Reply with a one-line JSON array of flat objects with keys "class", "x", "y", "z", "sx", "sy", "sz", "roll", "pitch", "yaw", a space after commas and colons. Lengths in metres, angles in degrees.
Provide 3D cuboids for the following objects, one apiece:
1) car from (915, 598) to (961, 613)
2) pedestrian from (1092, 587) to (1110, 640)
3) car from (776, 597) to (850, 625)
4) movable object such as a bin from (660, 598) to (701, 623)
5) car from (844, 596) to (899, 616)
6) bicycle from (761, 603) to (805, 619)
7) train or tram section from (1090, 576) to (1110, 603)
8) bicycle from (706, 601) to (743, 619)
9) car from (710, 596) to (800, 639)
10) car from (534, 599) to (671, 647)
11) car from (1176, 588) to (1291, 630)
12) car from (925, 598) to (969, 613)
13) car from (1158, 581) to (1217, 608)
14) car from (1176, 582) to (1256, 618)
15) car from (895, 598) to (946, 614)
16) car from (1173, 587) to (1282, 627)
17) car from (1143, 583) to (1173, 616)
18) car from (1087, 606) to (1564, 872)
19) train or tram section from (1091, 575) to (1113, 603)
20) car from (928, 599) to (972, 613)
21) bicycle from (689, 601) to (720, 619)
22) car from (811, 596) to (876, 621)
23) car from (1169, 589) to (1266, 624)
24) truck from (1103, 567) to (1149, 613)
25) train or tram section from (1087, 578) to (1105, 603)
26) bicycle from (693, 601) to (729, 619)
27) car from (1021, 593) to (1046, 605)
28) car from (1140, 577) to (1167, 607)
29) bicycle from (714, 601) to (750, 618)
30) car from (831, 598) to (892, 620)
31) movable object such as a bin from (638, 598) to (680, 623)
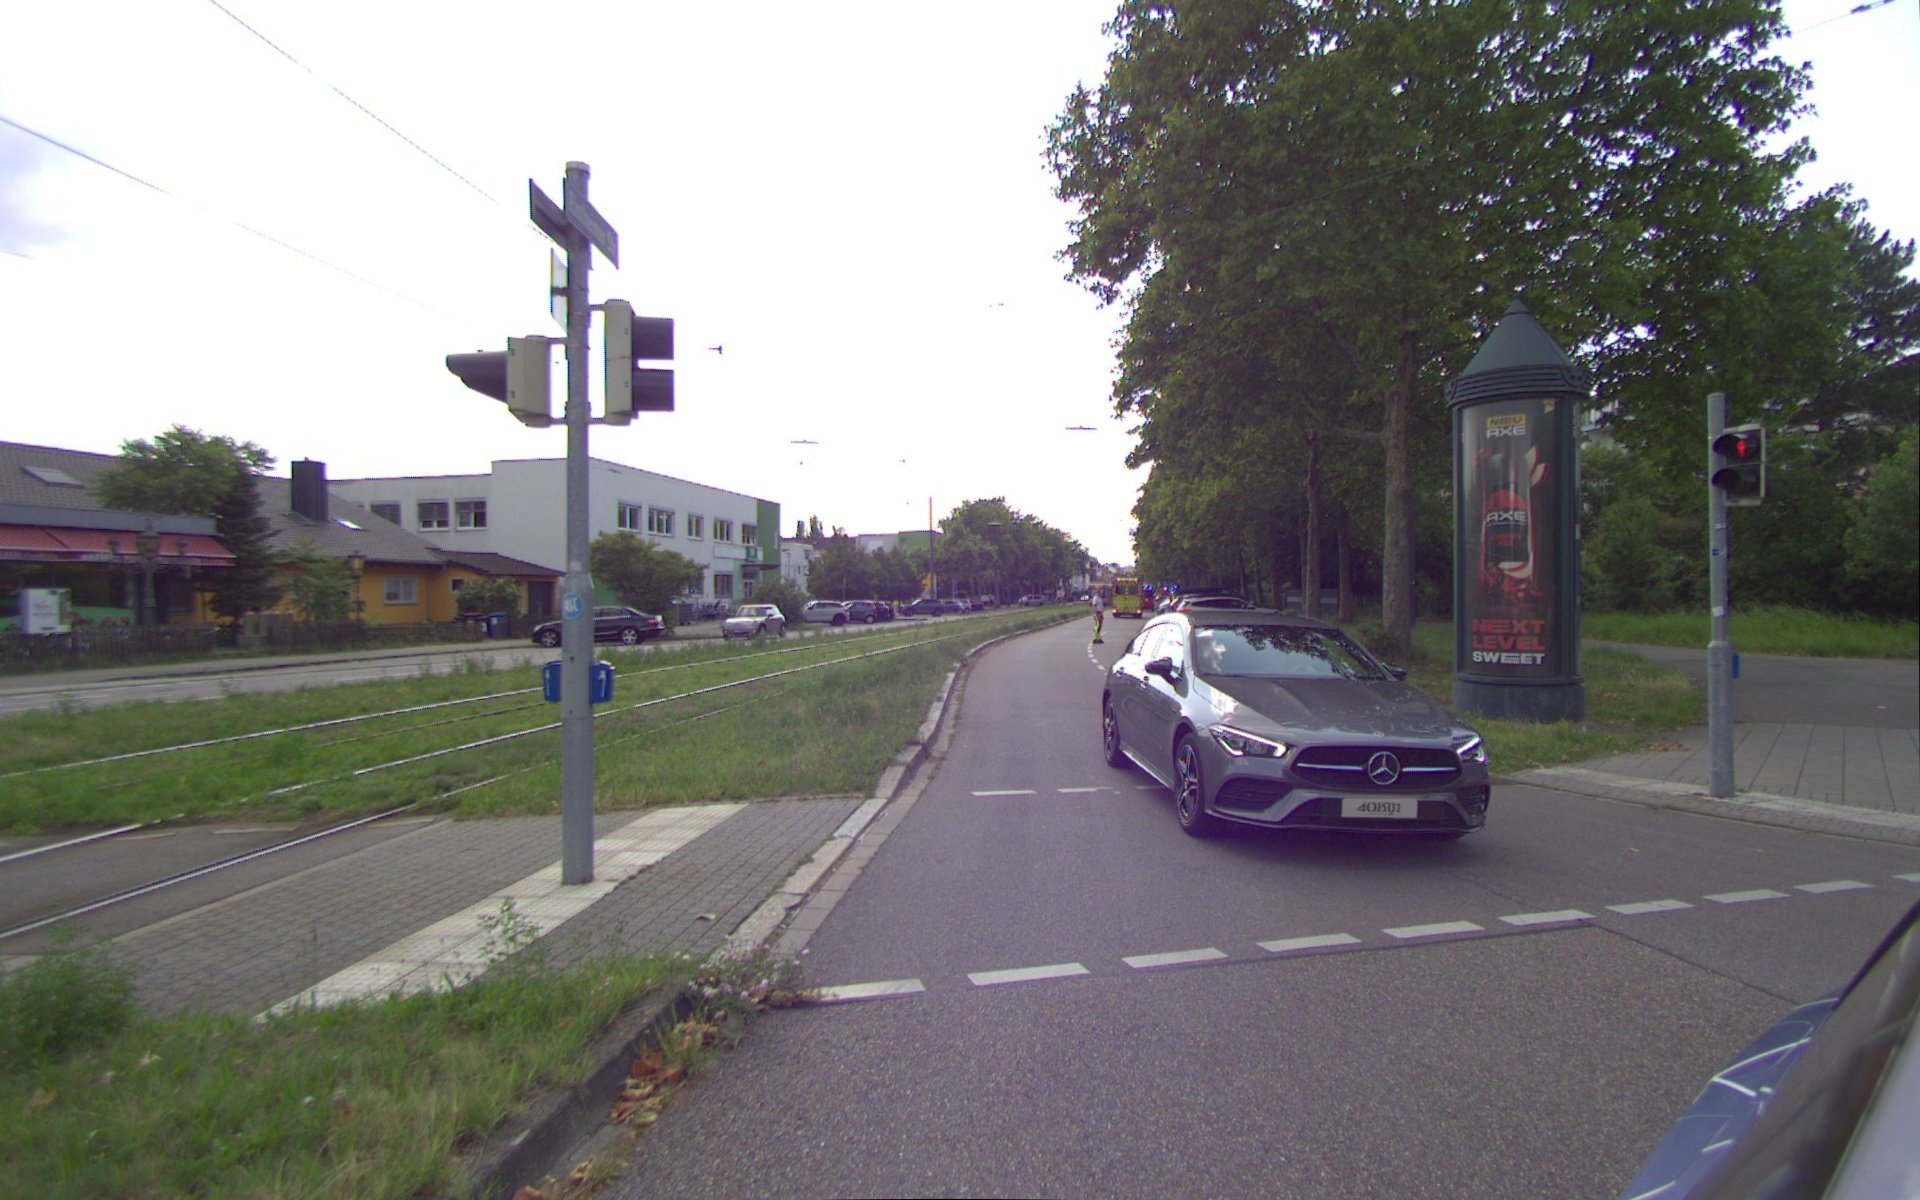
[{"class": "car", "x": -2.187, "y": 0.550, "z": 99.673, "sx": 4.226, "sy": 1.381, "sz": 1.905, "roll": -1, "pitch": 0, "yaw": -10}, {"class": "pedestrian", "x": 4.518, "y": 0.426, "z": 32.457, "sx": 0.577, "sy": 1.705, "sz": 0.493, "roll": 0, "pitch": -1, "yaw": 9}, {"class": "car", "x": -9.232, "y": 0.658, "z": 63.505, "sx": 4.225, "sy": 1.650, "sz": 1.906, "roll": -1, "pitch": 0, "yaw": -21}, {"class": "movable object such as a bin", "x": -16.052, "y": 0.592, "z": 58.185, "sx": 1.357, "sy": 1.343, "sz": 2.121, "roll": -1, "pitch": 0, "yaw": 15}, {"class": "car", "x": -6.913, "y": 0.426, "z": 78.551, "sx": 4.084, "sy": 1.523, "sz": 1.864, "roll": 0, "pitch": 0, "yaw": -10}, {"class": "bicycle", "x": -13.268, "y": 0.808, "z": 75.850, "sx": 3.091, "sy": 1.180, "sz": 1.139, "roll": -1, "pitch": 0, "yaw": 8}, {"class": "train or tram section", "x": 19.514, "y": -1.440, "z": 141.514, "sx": 2.452, "sy": 3.642, "sz": 7.410, "roll": -1, "pitch": 0, "yaw": 6}, {"class": "bicycle", "x": -15.977, "y": 0.687, "z": 68.595, "sx": 2.387, "sy": 1.180, "sz": 0.744, "roll": -1, "pitch": 0, "yaw": 19}, {"class": "car", "x": -8.341, "y": 0.681, "z": 41.632, "sx": 1.875, "sy": 1.650, "sz": 4.293, "roll": 0, "pitch": 0, "yaw": 16}, {"class": "car", "x": -13.241, "y": 0.827, "z": 37.694, "sx": 4.486, "sy": 1.600, "sz": 2.003, "roll": -2, "pitch": 0, "yaw": -8}, {"class": "car", "x": 11.393, "y": 0.388, "z": 42.474, "sx": 4.469, "sy": 1.665, "sz": 1.994, "roll": -1, "pitch": -1, "yaw": 10}, {"class": "car", "x": -1.321, "y": 0.566, "z": 102.871, "sx": 4.226, "sy": 1.381, "sz": 1.905, "roll": -1, "pitch": 0, "yaw": -10}, {"class": "car", "x": 30.234, "y": -0.773, "z": 134.730, "sx": 7.331, "sy": 3.372, "sz": 2.969, "roll": 1, "pitch": 0, "yaw": 7}, {"class": "car", "x": 15.004, "y": 0.004, "z": 59.574, "sx": 4.487, "sy": 2.039, "sz": 1.992, "roll": -1, "pitch": -1, "yaw": 13}, {"class": "car", "x": -3.525, "y": 0.521, "z": 89.476, "sx": 4.225, "sy": 1.381, "sz": 1.905, "roll": -1, "pitch": 0, "yaw": -12}, {"class": "car", "x": 11.835, "y": 0.332, "z": 45.014, "sx": 4.469, "sy": 1.665, "sz": 1.994, "roll": -1, "pitch": -1, "yaw": 10}, {"class": "car", "x": 21.374, "y": -0.014, "z": 109.367, "sx": 2.927, "sy": 3.359, "sz": 7.437, "roll": 1, "pitch": 0, "yaw": 10}, {"class": "car", "x": 2.291, "y": 0.774, "z": 7.814, "sx": 1.805, "sy": 1.411, "sz": 4.608, "roll": 1, "pitch": 0, "yaw": -3}, {"class": "train or tram section", "x": 18.791, "y": -1.449, "z": 134.162, "sx": 2.452, "sy": 3.642, "sz": 7.410, "roll": -1, "pitch": 0, "yaw": 5}, {"class": "car", "x": -1.040, "y": 0.571, "z": 105.450, "sx": 4.226, "sy": 1.381, "sz": 1.905, "roll": -1, "pitch": 0, "yaw": -10}, {"class": "bicycle", "x": -16.164, "y": 0.616, "z": 63.988, "sx": 1.768, "sy": 1.095, "sz": 0.734, "roll": -1, "pitch": 0, "yaw": 10}, {"class": "car", "x": -7.999, "y": 0.583, "z": 69.428, "sx": 4.224, "sy": 1.650, "sz": 1.906, "roll": 0, "pitch": 0, "yaw": -16}, {"class": "car", "x": 12.674, "y": 0.329, "z": 50.115, "sx": 4.469, "sy": 1.665, "sz": 1.994, "roll": -1, "pitch": -1, "yaw": 10}, {"class": "truck", "x": 12.860, "y": -0.736, "z": 78.002, "sx": 3.145, "sy": 3.359, "sz": 7.495, "roll": -1, "pitch": 0, "yaw": 12}, {"class": "train or tram section", "x": 20.971, "y": -1.484, "z": 156.239, "sx": 2.452, "sy": 3.642, "sz": 7.410, "roll": -1, "pitch": 0, "yaw": 6}, {"class": "bicycle", "x": -16.621, "y": 0.668, "z": 67.572, "sx": 2.320, "sy": 1.180, "sz": 0.756, "roll": -1, "pitch": 0, "yaw": 18}, {"class": "car", "x": 12.740, "y": -0.156, "z": 176.379, "sx": 3.915, "sy": 1.861, "sz": 1.826, "roll": 1, "pitch": 0, "yaw": -20}, {"class": "car", "x": 23.333, "y": -0.931, "z": 122.356, "sx": 2.927, "sy": 3.372, "sz": 7.437, "roll": 1, "pitch": 0, "yaw": 10}, {"class": "bicycle", "x": -15.659, "y": 0.633, "z": 69.450, "sx": 2.359, "sy": 1.129, "sz": 0.792, "roll": -1, "pitch": 0, "yaw": 19}, {"class": "car", "x": -7.026, "y": 0.623, "z": 72.377, "sx": 4.082, "sy": 1.523, "sz": 1.864, "roll": 0, "pitch": 0, "yaw": -16}, {"class": "movable object such as a bin", "x": -16.592, "y": 0.583, "z": 55.865, "sx": 1.357, "sy": 1.343, "sz": 2.107, "roll": -1, "pitch": 0, "yaw": 15}]
